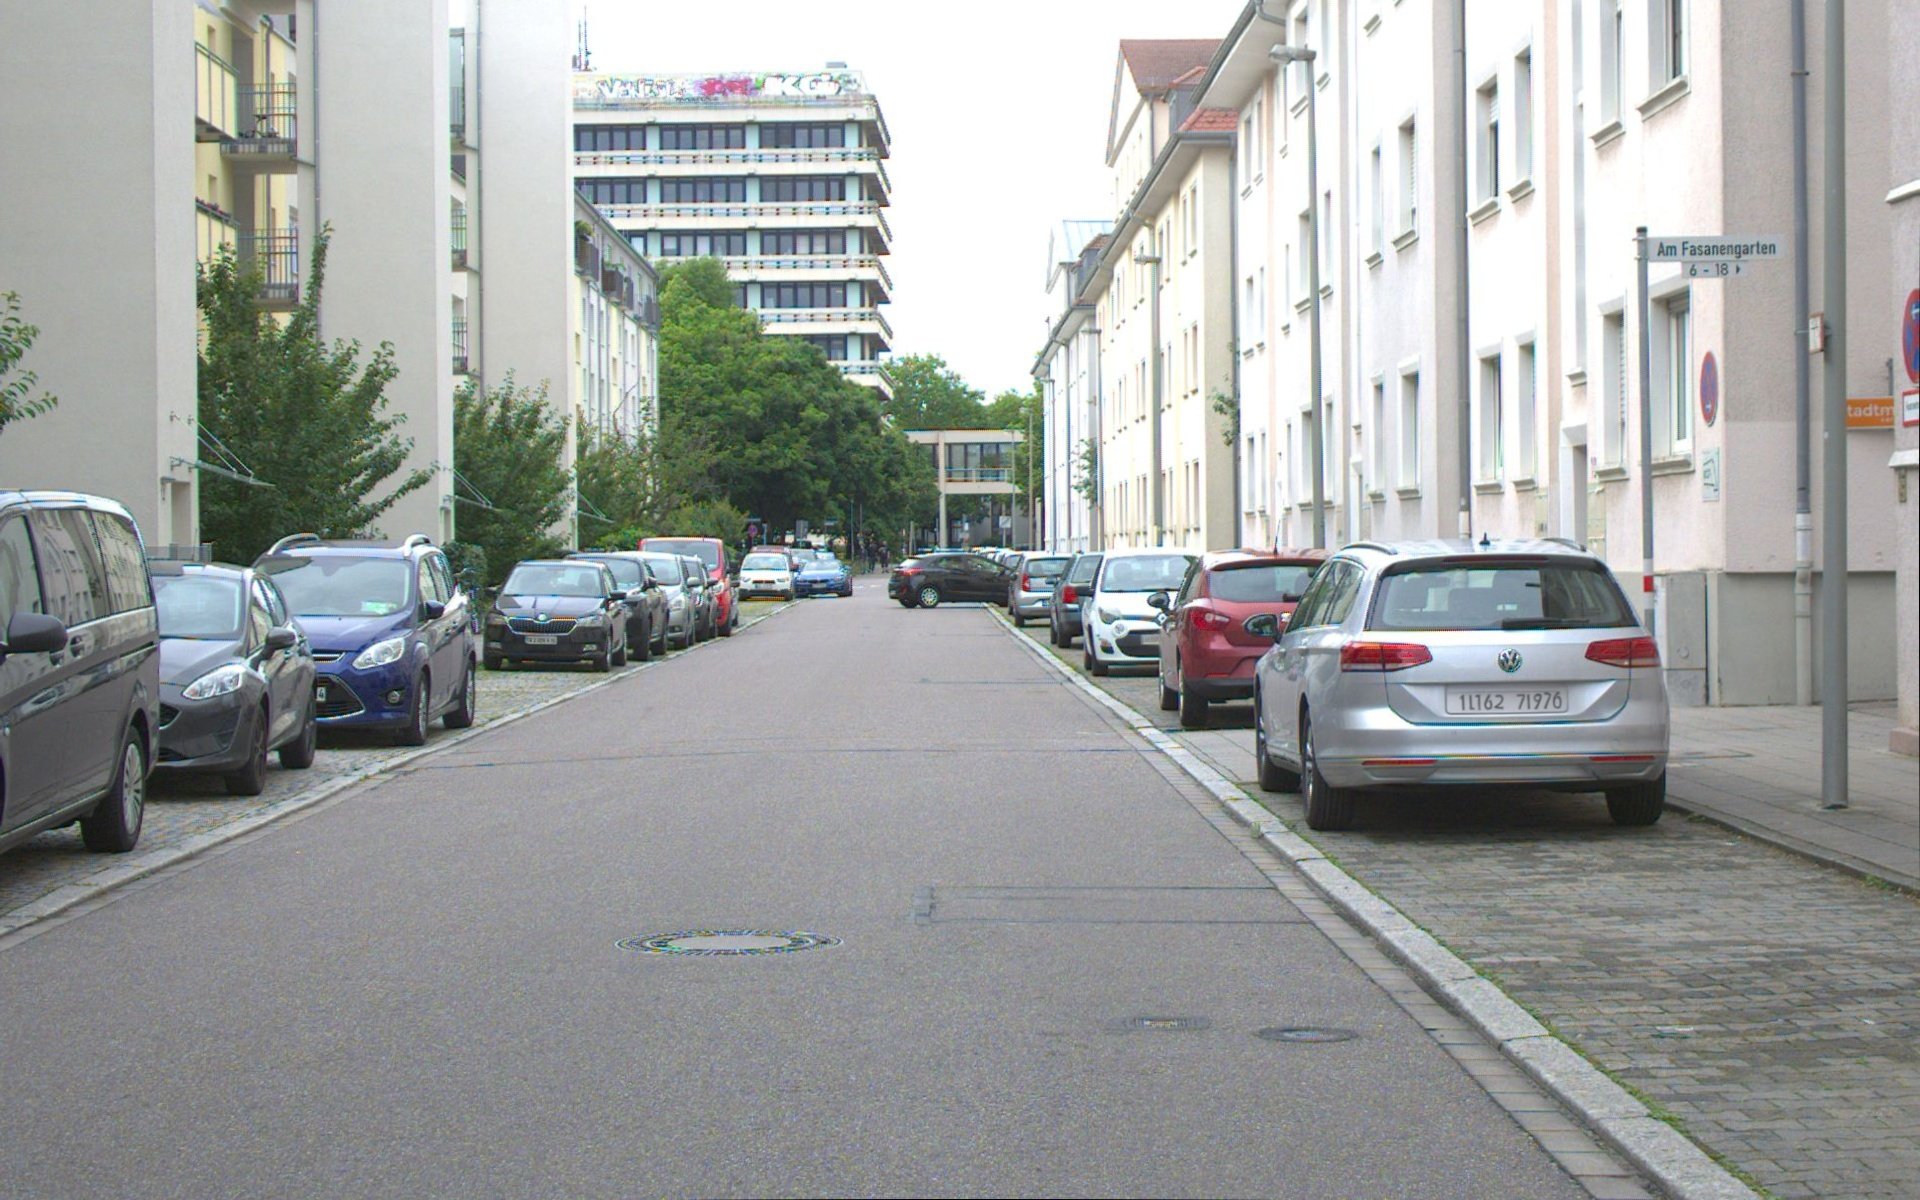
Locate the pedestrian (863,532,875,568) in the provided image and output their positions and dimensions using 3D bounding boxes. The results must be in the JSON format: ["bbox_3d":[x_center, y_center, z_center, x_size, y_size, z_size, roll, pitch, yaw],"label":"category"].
[{"bbox_3d":[-5.114,-2.801,193.600,0.629,2.007,0.683,2,1,-1],"label":"pedestrian"}]

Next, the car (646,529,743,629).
[{"bbox_3d":[-5.267,-0.439,68.486,1.671,1.931,3.742,0,1,-1],"label":"car"}]

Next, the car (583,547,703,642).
[{"bbox_3d":[-5.331,-0.123,58.230,1.671,1.520,4.253,0,1,-1],"label":"car"}]

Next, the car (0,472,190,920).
[{"bbox_3d":[-5.044,0.341,16.112,1.879,1.897,5.031,2,1,-3],"label":"car"}]

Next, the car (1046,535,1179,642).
[{"bbox_3d":[2.317,-0.201,52.983,1.819,1.571,3.753,0,1,-1],"label":"car"}]

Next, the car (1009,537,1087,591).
[{"bbox_3d":[2.482,-1.039,97.531,1.993,1.393,4.000,2,1,-1],"label":"car"}]

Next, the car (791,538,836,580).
[{"bbox_3d":[-5.118,-1.430,119.969,1.539,1.445,3.742,0,1,-3],"label":"car"}]

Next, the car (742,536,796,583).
[{"bbox_3d":[-6.070,-1.305,109.318,1.539,1.445,3.742,0,1,-1],"label":"car"}]

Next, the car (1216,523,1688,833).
[{"bbox_3d":[2.517,0.328,18.687,1.755,1.462,4.601,1,1,-2],"label":"car"}]

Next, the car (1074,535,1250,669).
[{"bbox_3d":[2.349,-0.015,40.877,1.819,1.499,3.753,0,1,-1],"label":"car"}]

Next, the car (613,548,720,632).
[{"bbox_3d":[-5.381,-0.204,63.382,1.671,1.482,3.742,0,1,-1],"label":"car"}]

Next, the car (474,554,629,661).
[{"bbox_3d":[-5.468,0.076,46.358,1.671,1.347,3.817,0,1,-1],"label":"car"}]

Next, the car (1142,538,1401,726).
[{"bbox_3d":[2.550,0.215,28.965,1.670,1.415,4.000,-2,1,-2],"label":"car"}]

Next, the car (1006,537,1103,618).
[{"bbox_3d":[1.888,-0.475,69.852,1.819,1.571,3.884,0,1,-1],"label":"car"}]

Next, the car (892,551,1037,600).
[{"bbox_3d":[0.137,-0.637,89.344,3.729,1.210,1.544,1,1,1],"label":"car"}]

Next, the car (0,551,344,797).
[{"bbox_3d":[-5.353,0.422,23.041,1.830,1.454,4.260,1,1,-2],"label":"car"}]

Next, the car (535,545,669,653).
[{"bbox_3d":[-5.390,-0.045,52.110,1.671,1.558,3.664,0,1,-1],"label":"car"}]

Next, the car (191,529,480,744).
[{"bbox_3d":[-5.114,0.238,28.659,1.769,1.637,4.355,1,1,-2],"label":"car"}]
